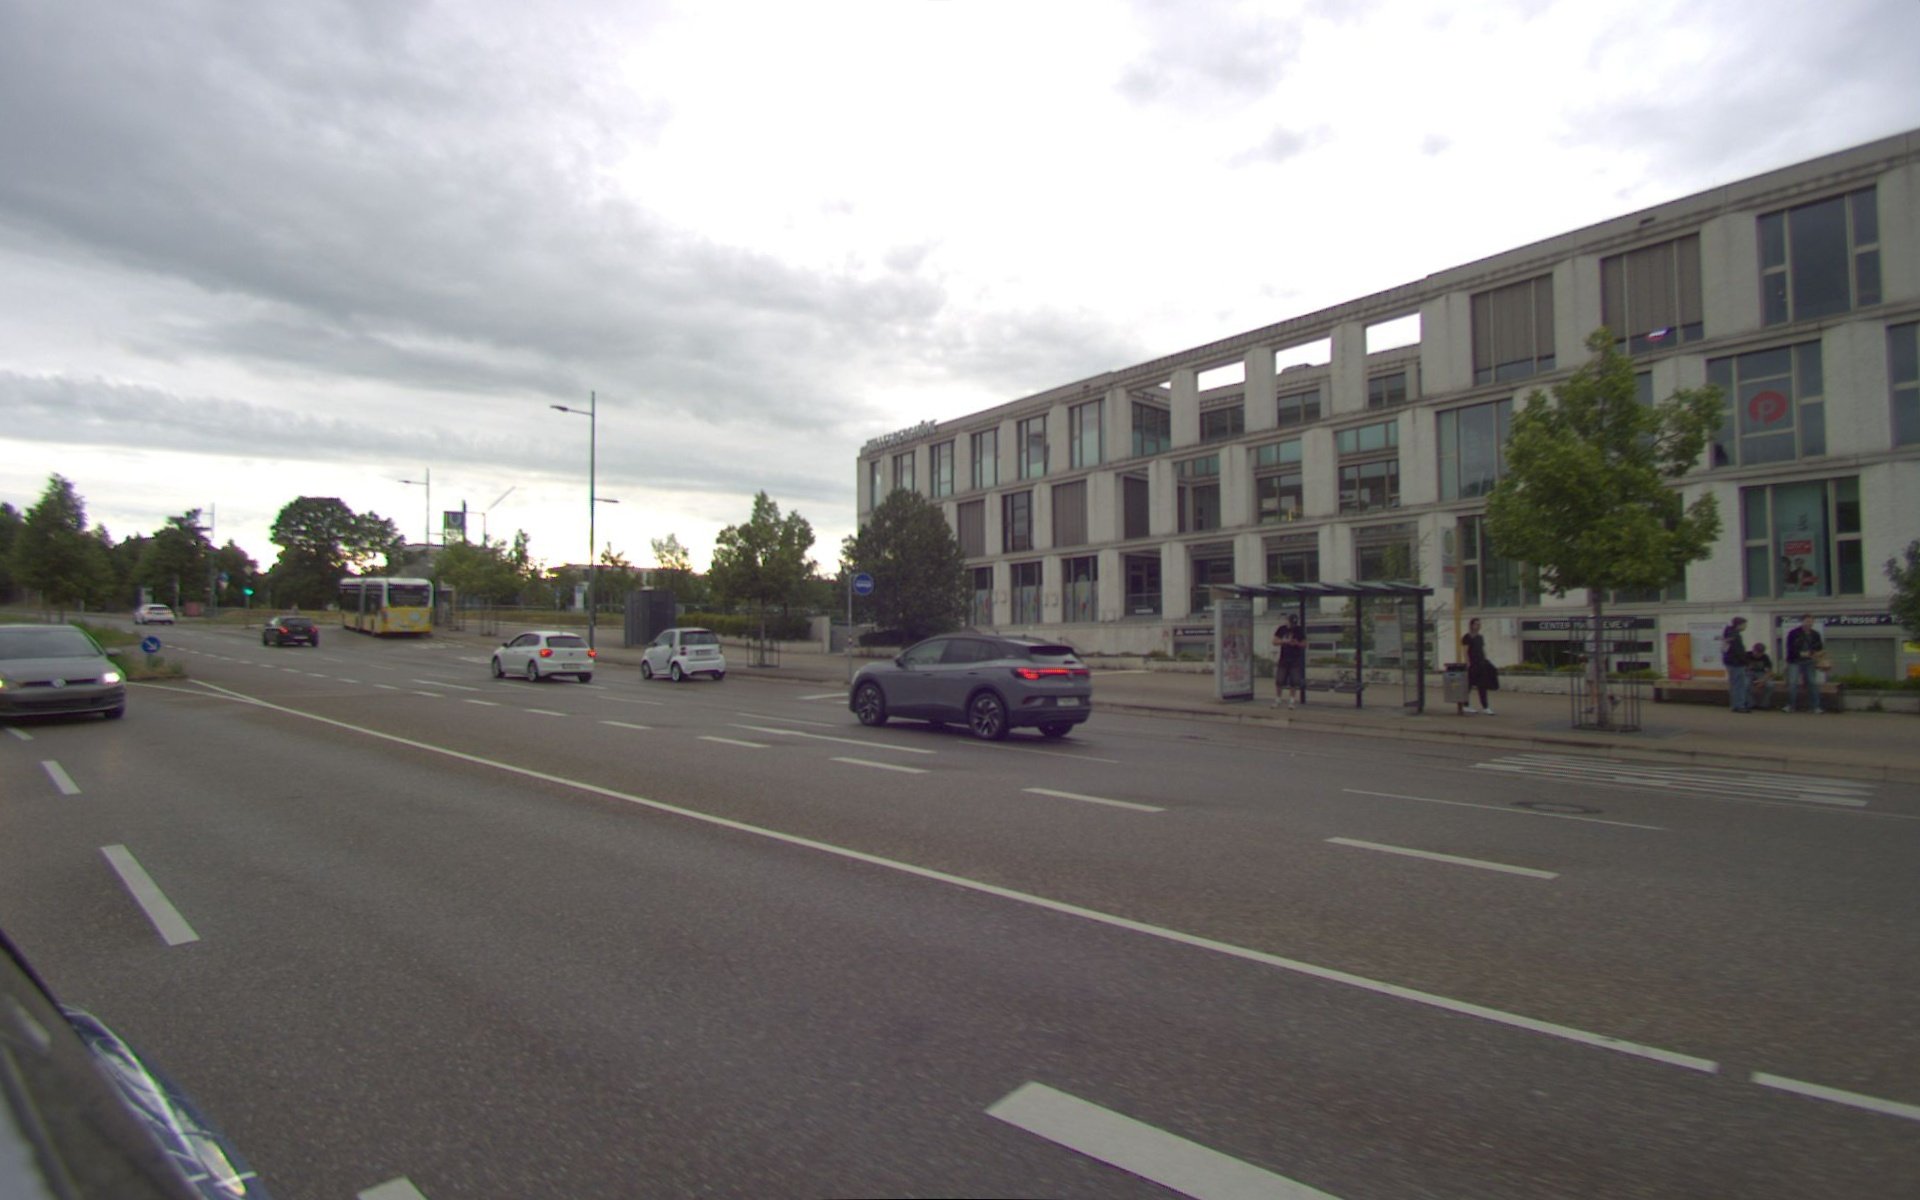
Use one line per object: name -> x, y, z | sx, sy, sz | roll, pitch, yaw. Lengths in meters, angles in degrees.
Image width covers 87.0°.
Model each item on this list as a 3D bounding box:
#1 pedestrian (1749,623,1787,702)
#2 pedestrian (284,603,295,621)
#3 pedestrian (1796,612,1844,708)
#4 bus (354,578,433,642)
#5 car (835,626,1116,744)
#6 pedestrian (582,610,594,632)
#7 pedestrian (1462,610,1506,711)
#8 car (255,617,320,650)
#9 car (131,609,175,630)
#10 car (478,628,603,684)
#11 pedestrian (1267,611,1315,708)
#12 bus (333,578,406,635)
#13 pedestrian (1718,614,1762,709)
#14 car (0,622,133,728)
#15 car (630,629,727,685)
pedestrian -> 15.352, 1.175, 19.217 | 0.510, 1.462, 0.421 | -1, -2, 45
pedestrian -> -59.280, 1.046, 89.450 | 0.812, 1.606, 0.608 | -3, -3, 40
pedestrian -> 15.873, 1.099, 18.679 | 0.621, 1.738, 0.421 | -1, -2, 45
bus -> -33.249, 0.464, 59.280 | 2.785, 3.498, 8.248 | 0, 1, -38
car -> 0.120, 1.304, 16.632 | 4.595, 1.584, 1.811 | 0, -4, 45
pedestrian -> -26.220, 1.483, 71.367 | 0.664, 1.541, 0.484 | -3, -3, 39
pedestrian -> 9.894, 1.131, 19.118 | 0.607, 1.870, 0.574 | -1, -2, 42
car -> -32.634, 1.605, 49.089 | 3.869, 1.473, 1.825 | 0, -2, 44
car -> -58.682, 1.401, 73.592 | 4.515, 1.429, 1.971 | 0, -1, 44
car -> -12.409, 1.634, 29.841 | 4.177, 1.441, 1.852 | 0, -4, 44
pedestrian -> 6.524, 1.153, 19.947 | 0.756, 1.856, 0.501 | -1, -2, 44
bus -> -38.907, 0.335, 66.464 | 2.785, 3.498, 9.994 | 0, 1, -38
pedestrian -> 14.654, 1.144, 19.014 | 0.518, 1.738, 0.567 | 2, -2, -43
car -> -14.511, 1.071, 15.703 | 4.192, 1.440, 1.788 | -1, -1, 39
car -> -8.590, 1.680, 30.806 | 2.974, 1.519, 1.595 | 0, 0, 44
